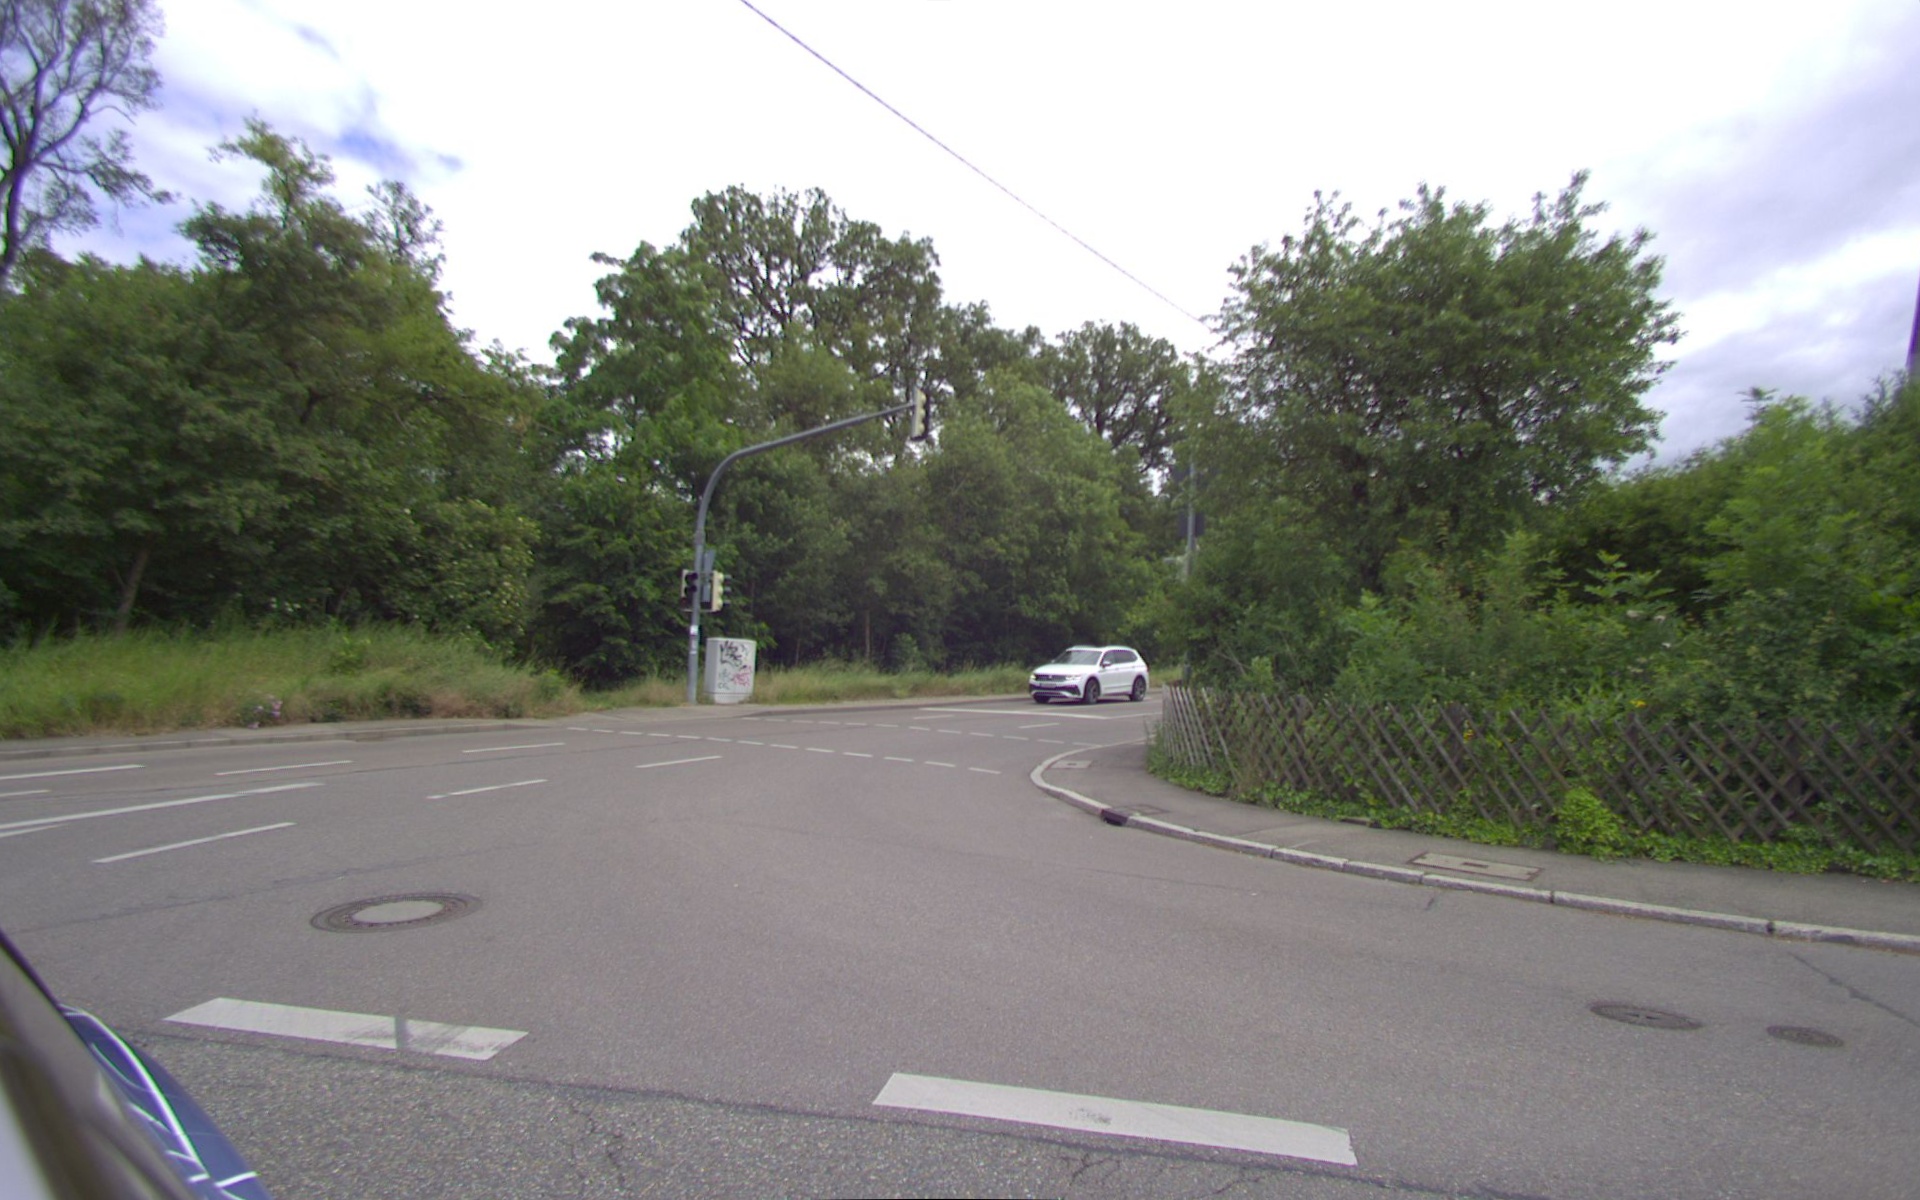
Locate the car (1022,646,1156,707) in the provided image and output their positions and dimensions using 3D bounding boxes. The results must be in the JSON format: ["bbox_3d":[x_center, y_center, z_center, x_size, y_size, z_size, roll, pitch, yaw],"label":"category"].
[{"bbox_3d":[3.829,2.224,29.433,1.861,1.640,4.596,-3,-5,36],"label":"car"}]
